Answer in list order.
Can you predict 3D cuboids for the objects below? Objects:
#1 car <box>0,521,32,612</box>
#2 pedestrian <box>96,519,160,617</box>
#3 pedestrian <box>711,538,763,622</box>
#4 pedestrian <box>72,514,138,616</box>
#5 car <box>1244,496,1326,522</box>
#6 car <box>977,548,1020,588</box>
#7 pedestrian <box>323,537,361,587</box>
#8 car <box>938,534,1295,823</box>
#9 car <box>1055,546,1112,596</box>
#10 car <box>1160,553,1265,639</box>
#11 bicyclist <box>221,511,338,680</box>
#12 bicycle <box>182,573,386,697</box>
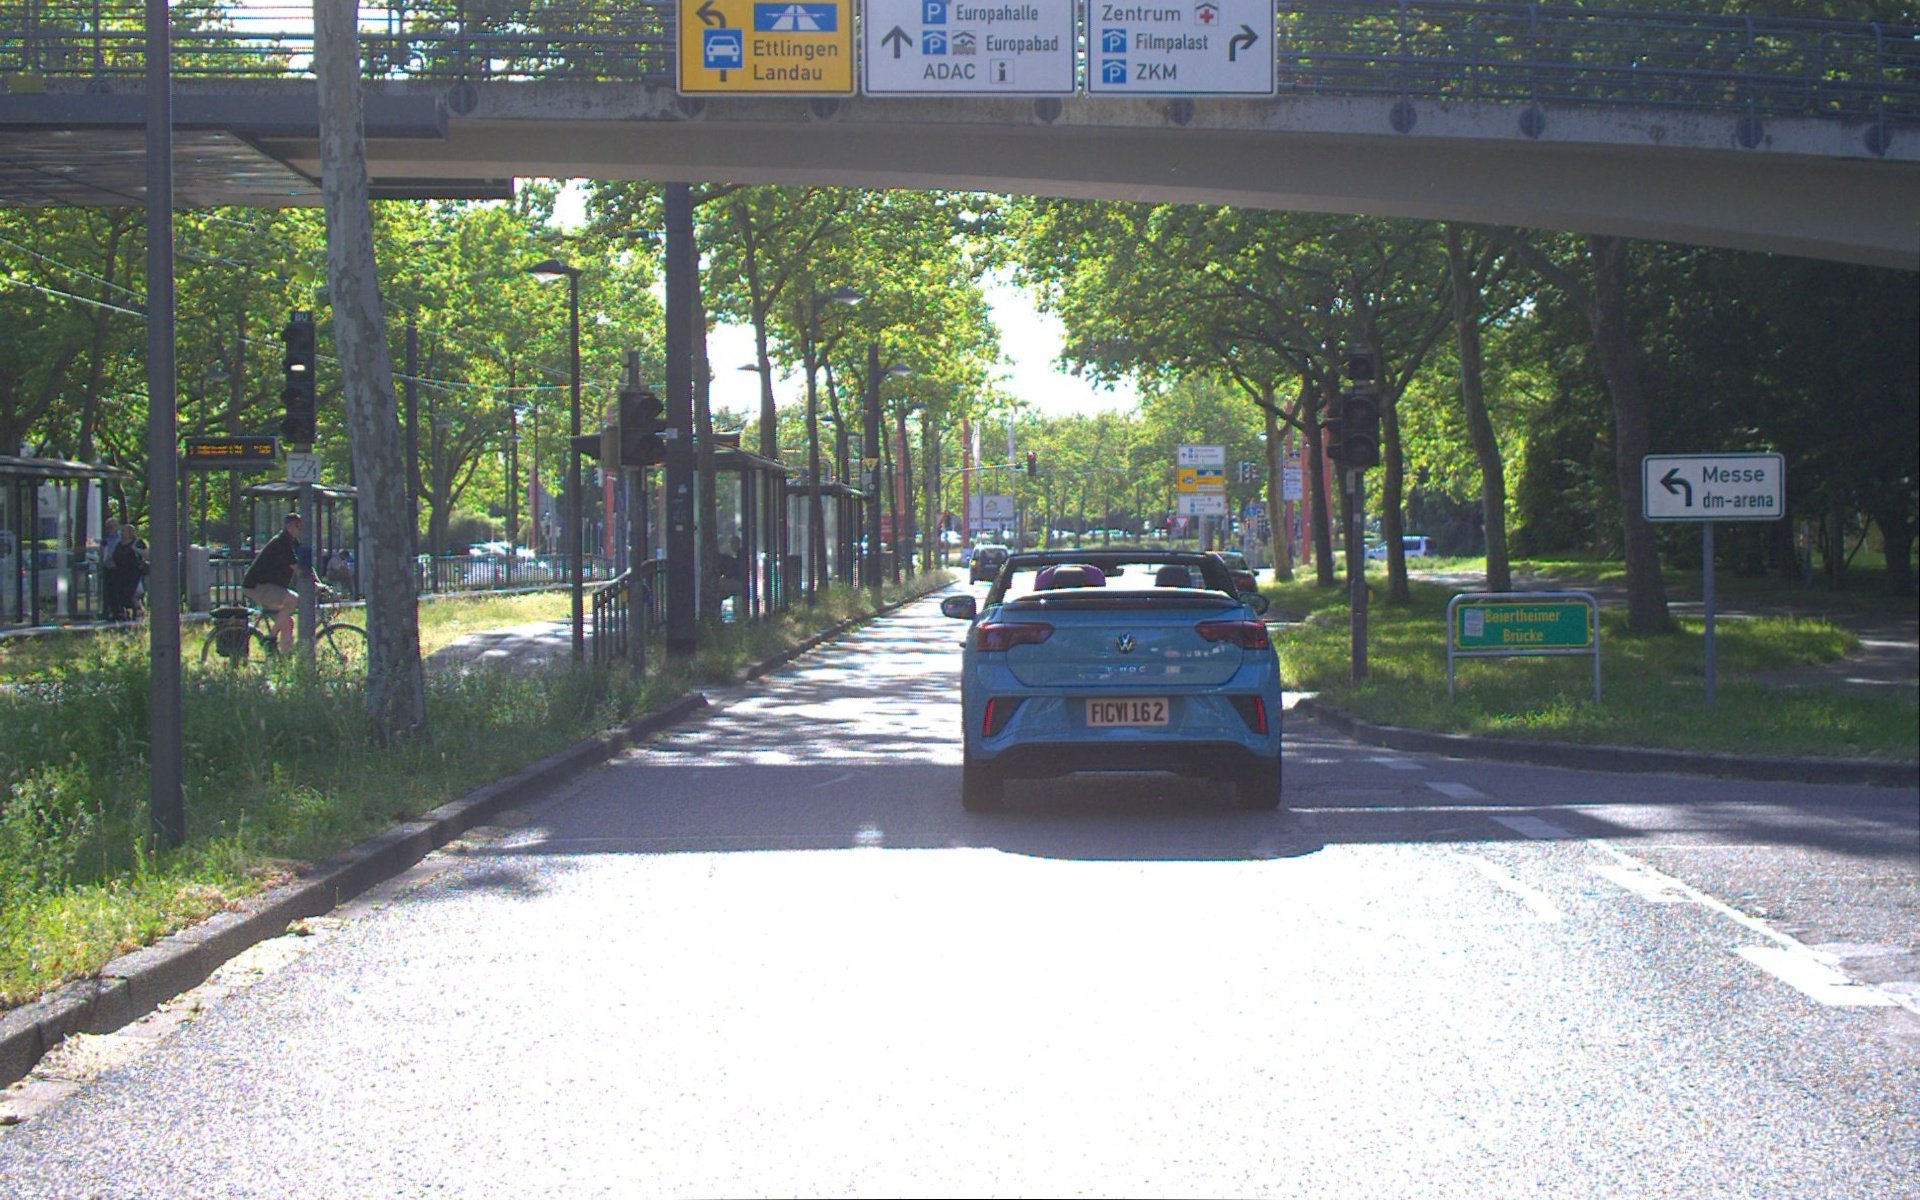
[{"bbox_3d":[-23.871,-0.808,78.981,4.486,2.056,1.900,0,2,-38],"label":"car"},{"bbox_3d":[-13.119,-0.507,54.238,0.683,1.508,0.643,-1,1,28],"label":"pedestrian"},{"bbox_3d":[-3.341,-0.300,51.481,0.733,1.248,0.588,1,0,-5],"label":"pedestrian"},{"bbox_3d":[-13.852,-0.573,55.677,0.715,1.629,0.729,-1,1,42],"label":"pedestrian"},{"bbox_3d":[17.435,-4.866,184.457,3.993,1.333,1.726,1,1,27],"label":"car"},{"bbox_3d":[1.588,-1.328,141.442,1.710,1.598,3.350,0,1,0],"label":"car"},{"bbox_3d":[-14.285,-0.874,79.494,0.694,1.123,0.662,-3,0,2],"label":"pedestrian"},{"bbox_3d":[0.821,0.382,20.388,1.776,1.478,4.101,2,1,-2],"label":"car"},{"bbox_3d":[3.894,-0.936,108.666,1.639,1.489,3.503,1,1,0],"label":"car"},{"bbox_3d":[5.482,-0.113,75.111,1.982,1.786,4.614,1,1,1],"label":"car"},{"bbox_3d":[-6.725,-0.053,34.002,0.953,1.626,0.815,2,2,0],"label":"bicyclist"},{"bbox_3d":[-6.674,0.338,34.008,1.831,1.143,0.815,2,2,0],"label":"bicycle"}]
